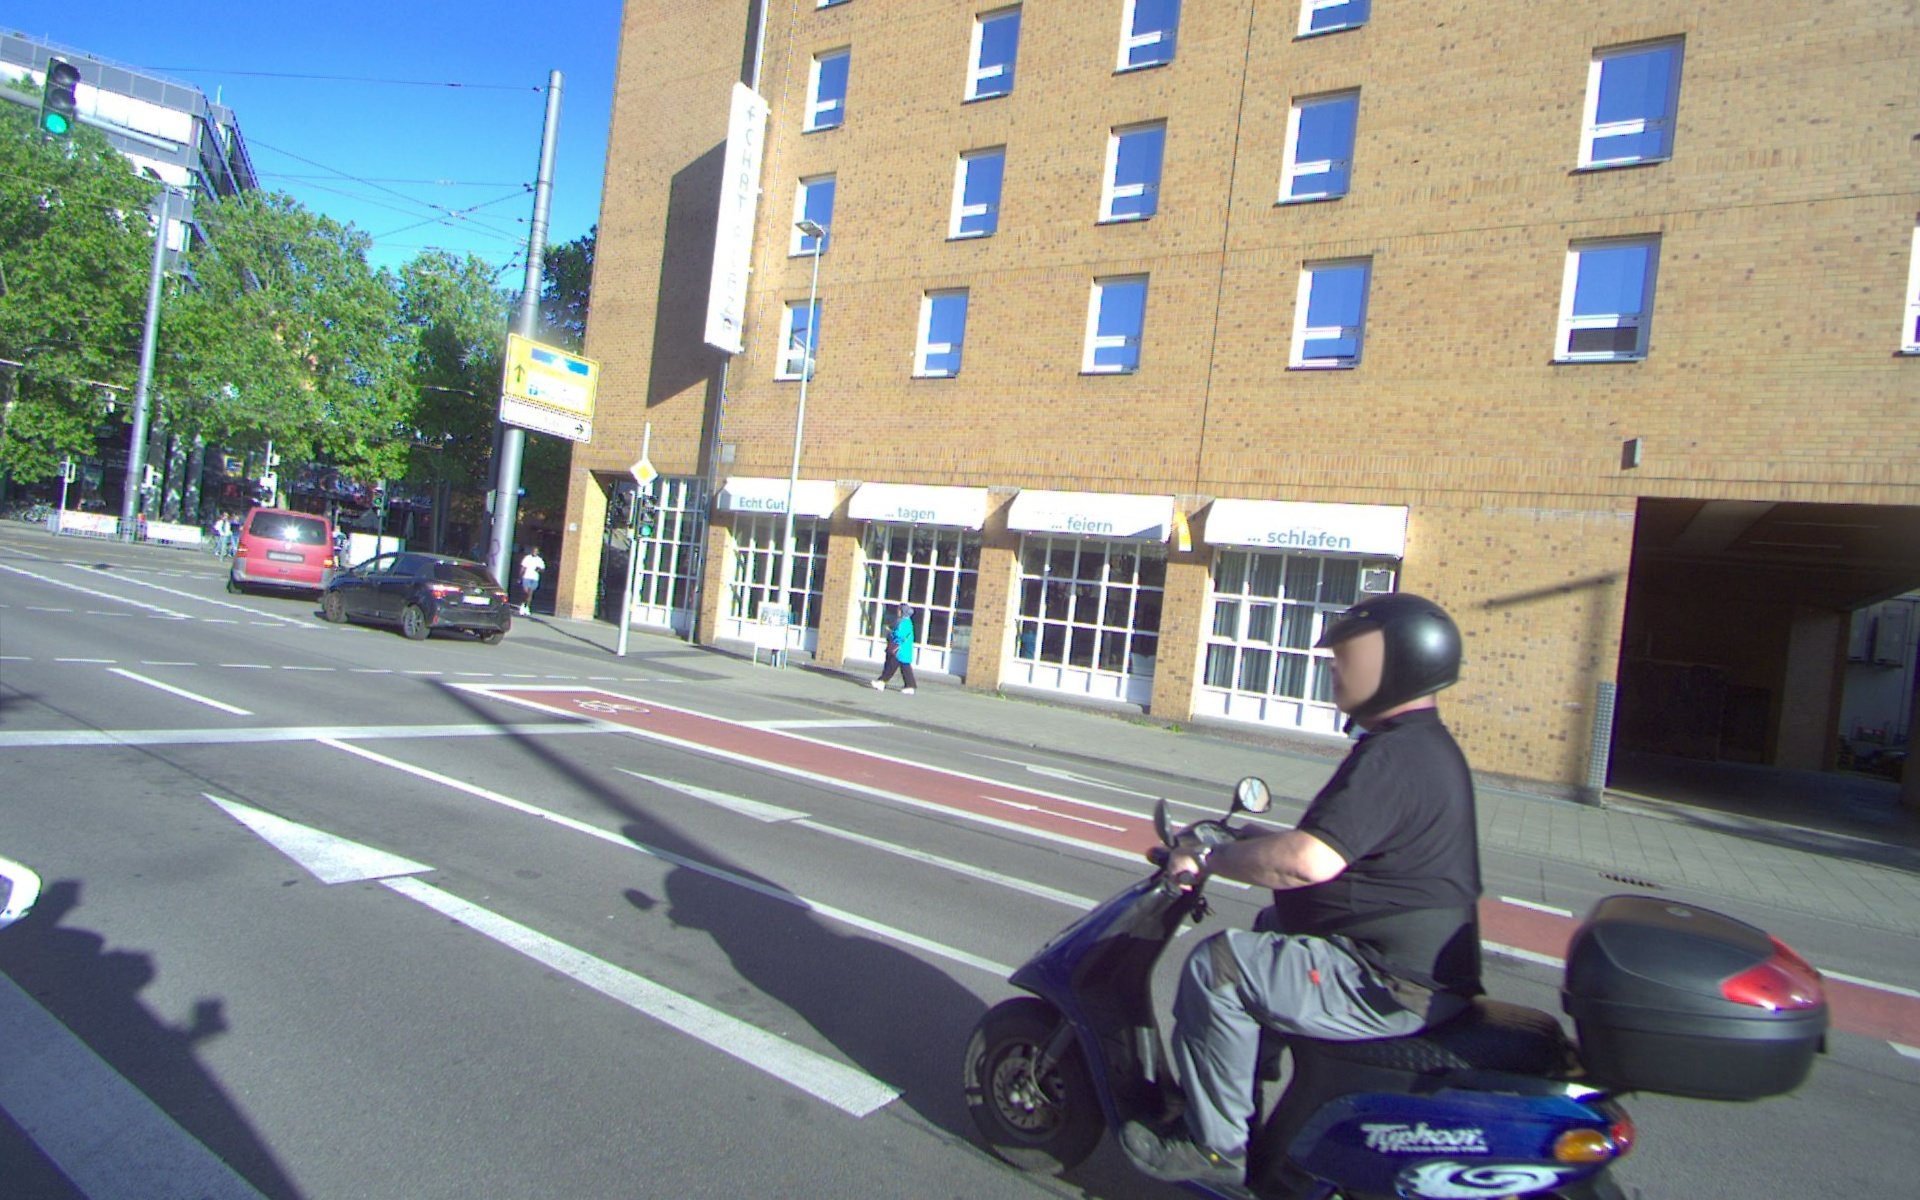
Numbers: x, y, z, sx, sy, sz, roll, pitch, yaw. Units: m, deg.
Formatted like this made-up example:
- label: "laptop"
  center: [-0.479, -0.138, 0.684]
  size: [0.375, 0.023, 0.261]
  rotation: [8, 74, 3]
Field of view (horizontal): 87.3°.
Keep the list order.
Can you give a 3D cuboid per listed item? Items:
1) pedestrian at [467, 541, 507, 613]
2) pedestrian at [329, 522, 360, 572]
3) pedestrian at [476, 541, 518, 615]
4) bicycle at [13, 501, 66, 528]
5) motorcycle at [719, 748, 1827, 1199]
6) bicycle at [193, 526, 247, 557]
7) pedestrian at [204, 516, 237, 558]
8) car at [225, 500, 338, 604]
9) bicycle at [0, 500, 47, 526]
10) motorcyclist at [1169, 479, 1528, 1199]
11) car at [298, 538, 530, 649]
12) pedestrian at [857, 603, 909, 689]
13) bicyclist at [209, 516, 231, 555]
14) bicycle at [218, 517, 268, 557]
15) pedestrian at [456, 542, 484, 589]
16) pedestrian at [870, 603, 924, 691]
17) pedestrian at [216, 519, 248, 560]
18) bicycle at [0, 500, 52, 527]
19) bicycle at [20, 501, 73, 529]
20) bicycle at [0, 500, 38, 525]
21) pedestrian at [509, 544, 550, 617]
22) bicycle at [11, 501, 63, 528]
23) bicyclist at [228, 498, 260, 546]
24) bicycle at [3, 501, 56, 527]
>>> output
- label: "pedestrian"
  center: [-12.633, -0.606, 26.887]
  size: [0.726, 1.813, 0.510]
  rotation: [7, -1, -19]
- label: "pedestrian"
  center: [-24.974, -2.148, 40.832]
  size: [0.787, 1.920, 0.809]
  rotation: [8, -2, -39]
- label: "pedestrian"
  center: [-11.640, -0.543, 25.282]
  size: [0.670, 1.804, 0.593]
  rotation: [5, 2, 29]
- label: "bicycle"
  center: [-46.800, -4.332, 51.159]
  size: [0.354, 1.058, 1.884]
  rotation: [6, -2, 31]
- label: "motorcycle"
  center: [0.569, 1.110, 2.591]
  size: [2.336, 1.062, 0.805]
  rotation: [6, -2, 32]
- label: "bicycle"
  center: [-36.426, -2.862, 49.565]
  size: [0.414, 1.228, 2.046]
  rotation: [6, -2, 32]
- label: "pedestrian"
  center: [-29.363, -2.490, 39.957]
  size: [0.689, 1.550, 0.568]
  rotation: [7, -1, 2]
- label: "car"
  center: [-15.971, -1.133, 23.587]
  size: [1.794, 2.033, 4.427]
  rotation: [6, 0, -37]
- label: "bicycle"
  center: [-49.249, -4.574, 52.773]
  size: [0.354, 1.058, 1.885]
  rotation: [7, -2, 31]
- label: "motorcyclist"
  center: [0.965, 0.590, 2.401]
  size: [0.520, 1.598, 0.798]
  rotation: [6, -1, 31]
- label: "car"
  center: [-10.149, -0.126, 18.658]
  size: [3.970, 1.466, 1.737]
  rotation: [7, -2, 28]
- label: "pedestrian"
  center: [-1.391, 0.836, 18.190]
  size: [0.543, 1.495, 0.593]
  rotation: [6, 0, 32]
- label: "bicyclist"
  center: [-36.418, -3.178, 49.530]
  size: [0.396, 1.859, 0.585]
  rotation: [6, -1, 31]
- label: "bicycle"
  center: [-30.043, -2.610, 42.226]
  size: [0.717, 1.383, 2.908]
  rotation: [7, -2, -18]
- label: "pedestrian"
  center: [-18.829, -1.323, 38.662]
  size: [0.636, 1.719, 0.715]
  rotation: [8, -1, -39]
- label: "pedestrian"
  center: [-1.112, 0.836, 17.802]
  size: [0.591, 1.470, 0.593]
  rotation: [6, 1, 32]
- label: "pedestrian"
  center: [-29.325, -2.434, 40.552]
  size: [0.689, 1.496, 0.568]
  rotation: [7, -1, 4]
- label: "bicycle"
  center: [-48.796, -4.517, 52.578]
  size: [0.354, 1.058, 1.885]
  rotation: [7, -2, 31]
- label: "bicycle"
  center: [-46.113, -4.271, 50.813]
  size: [0.354, 1.058, 1.884]
  rotation: [6, -2, 31]
- label: "bicycle"
  center: [-50.225, -4.685, 53.335]
  size: [0.354, 1.058, 1.884]
  rotation: [7, -2, 31]
- label: "pedestrian"
  center: [-11.150, -0.496, 26.053]
  size: [0.673, 1.802, 0.591]
  rotation: [6, 1, 43]
- label: "bicycle"
  center: [-47.410, -4.375, 51.698]
  size: [0.354, 1.058, 1.884]
  rotation: [6, -2, 31]
- label: "bicyclist"
  center: [-29.880, -3.241, 42.007]
  size: [0.689, 1.829, 0.726]
  rotation: [7, -1, -17]
- label: "bicycle"
  center: [-48.388, -4.462, 52.336]
  size: [0.354, 1.058, 1.884]
  rotation: [6, -2, 31]
